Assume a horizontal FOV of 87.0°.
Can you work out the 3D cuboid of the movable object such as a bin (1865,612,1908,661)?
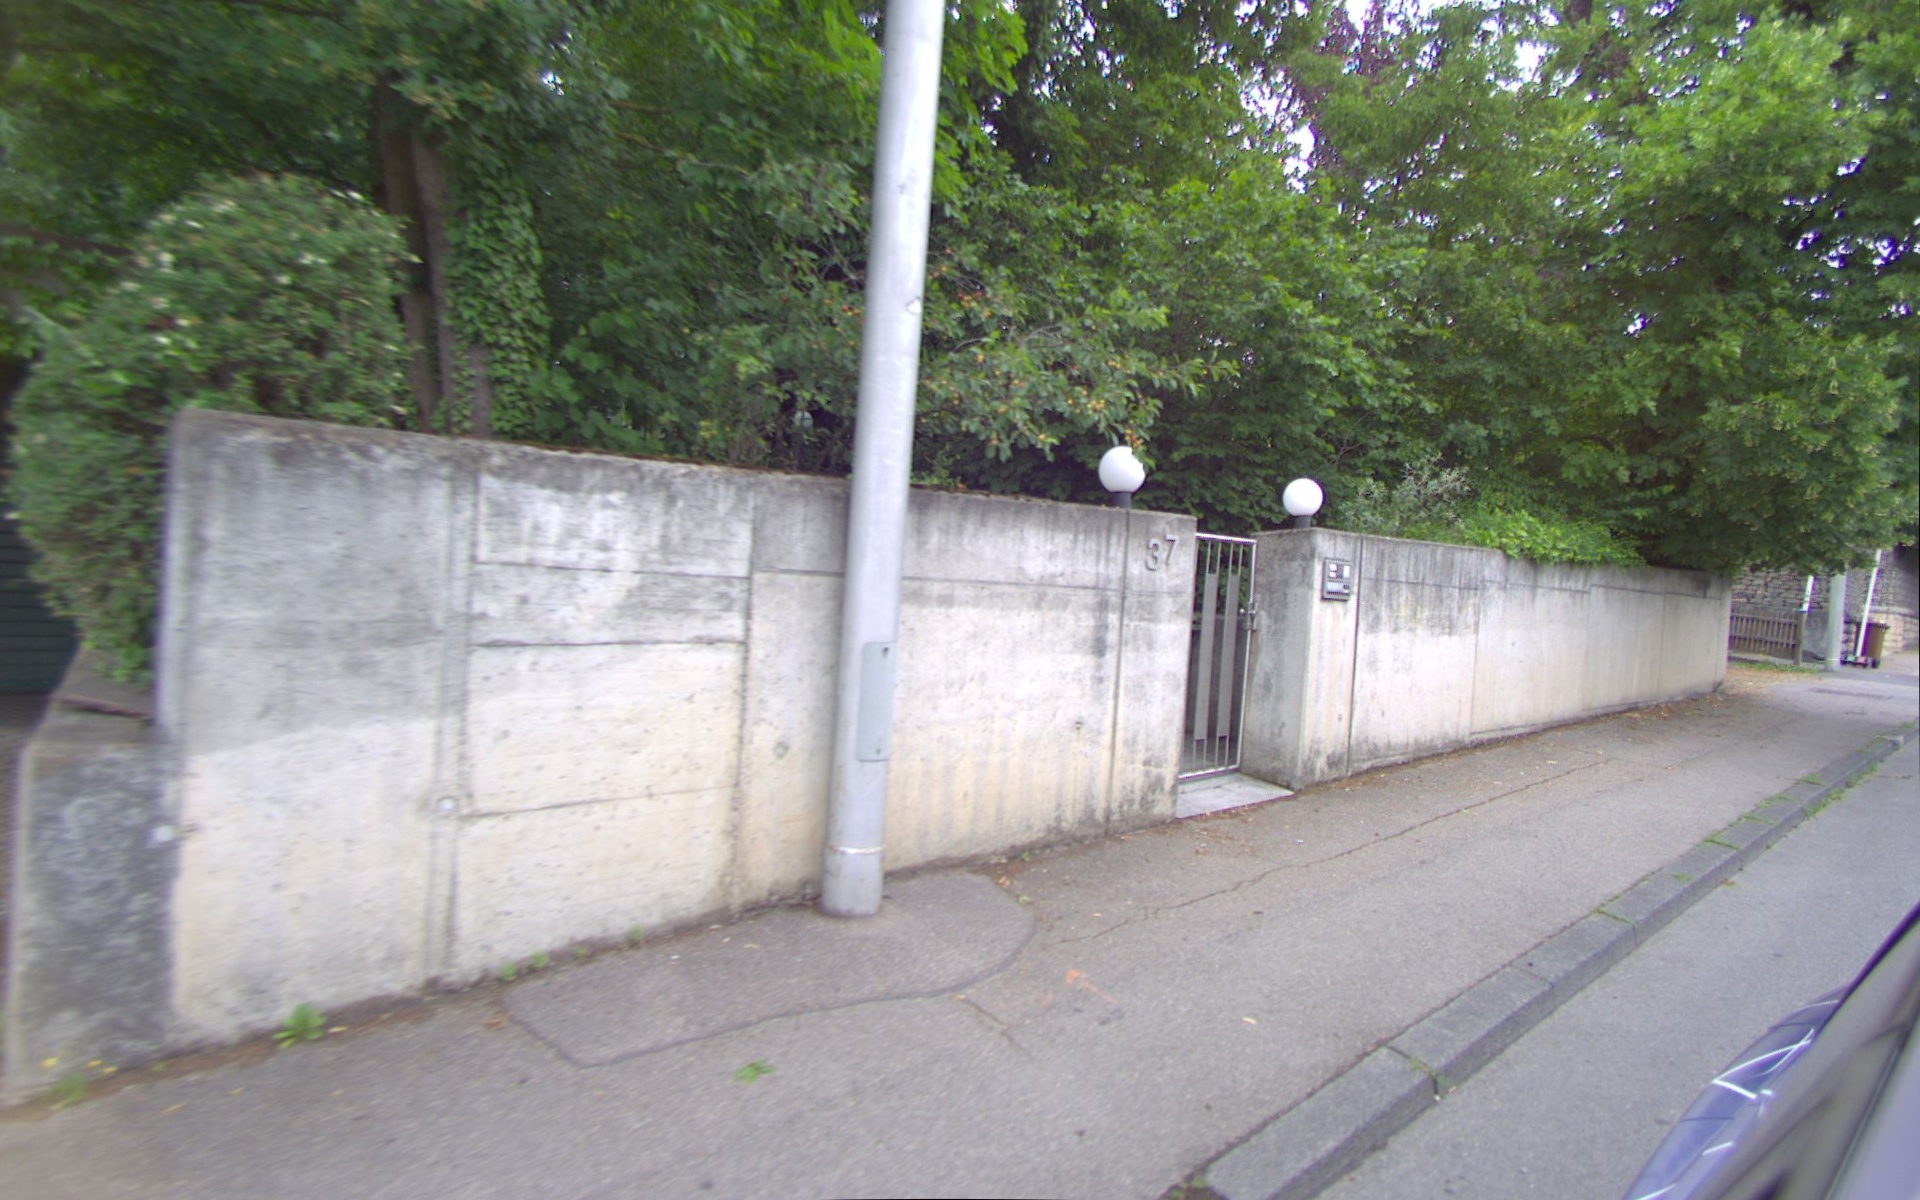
[{"bbox_3d":[18.248,0.717,19.930,0.386,0.920,0.447,3,3,-31],"label":"movable object such as a bin"}]
